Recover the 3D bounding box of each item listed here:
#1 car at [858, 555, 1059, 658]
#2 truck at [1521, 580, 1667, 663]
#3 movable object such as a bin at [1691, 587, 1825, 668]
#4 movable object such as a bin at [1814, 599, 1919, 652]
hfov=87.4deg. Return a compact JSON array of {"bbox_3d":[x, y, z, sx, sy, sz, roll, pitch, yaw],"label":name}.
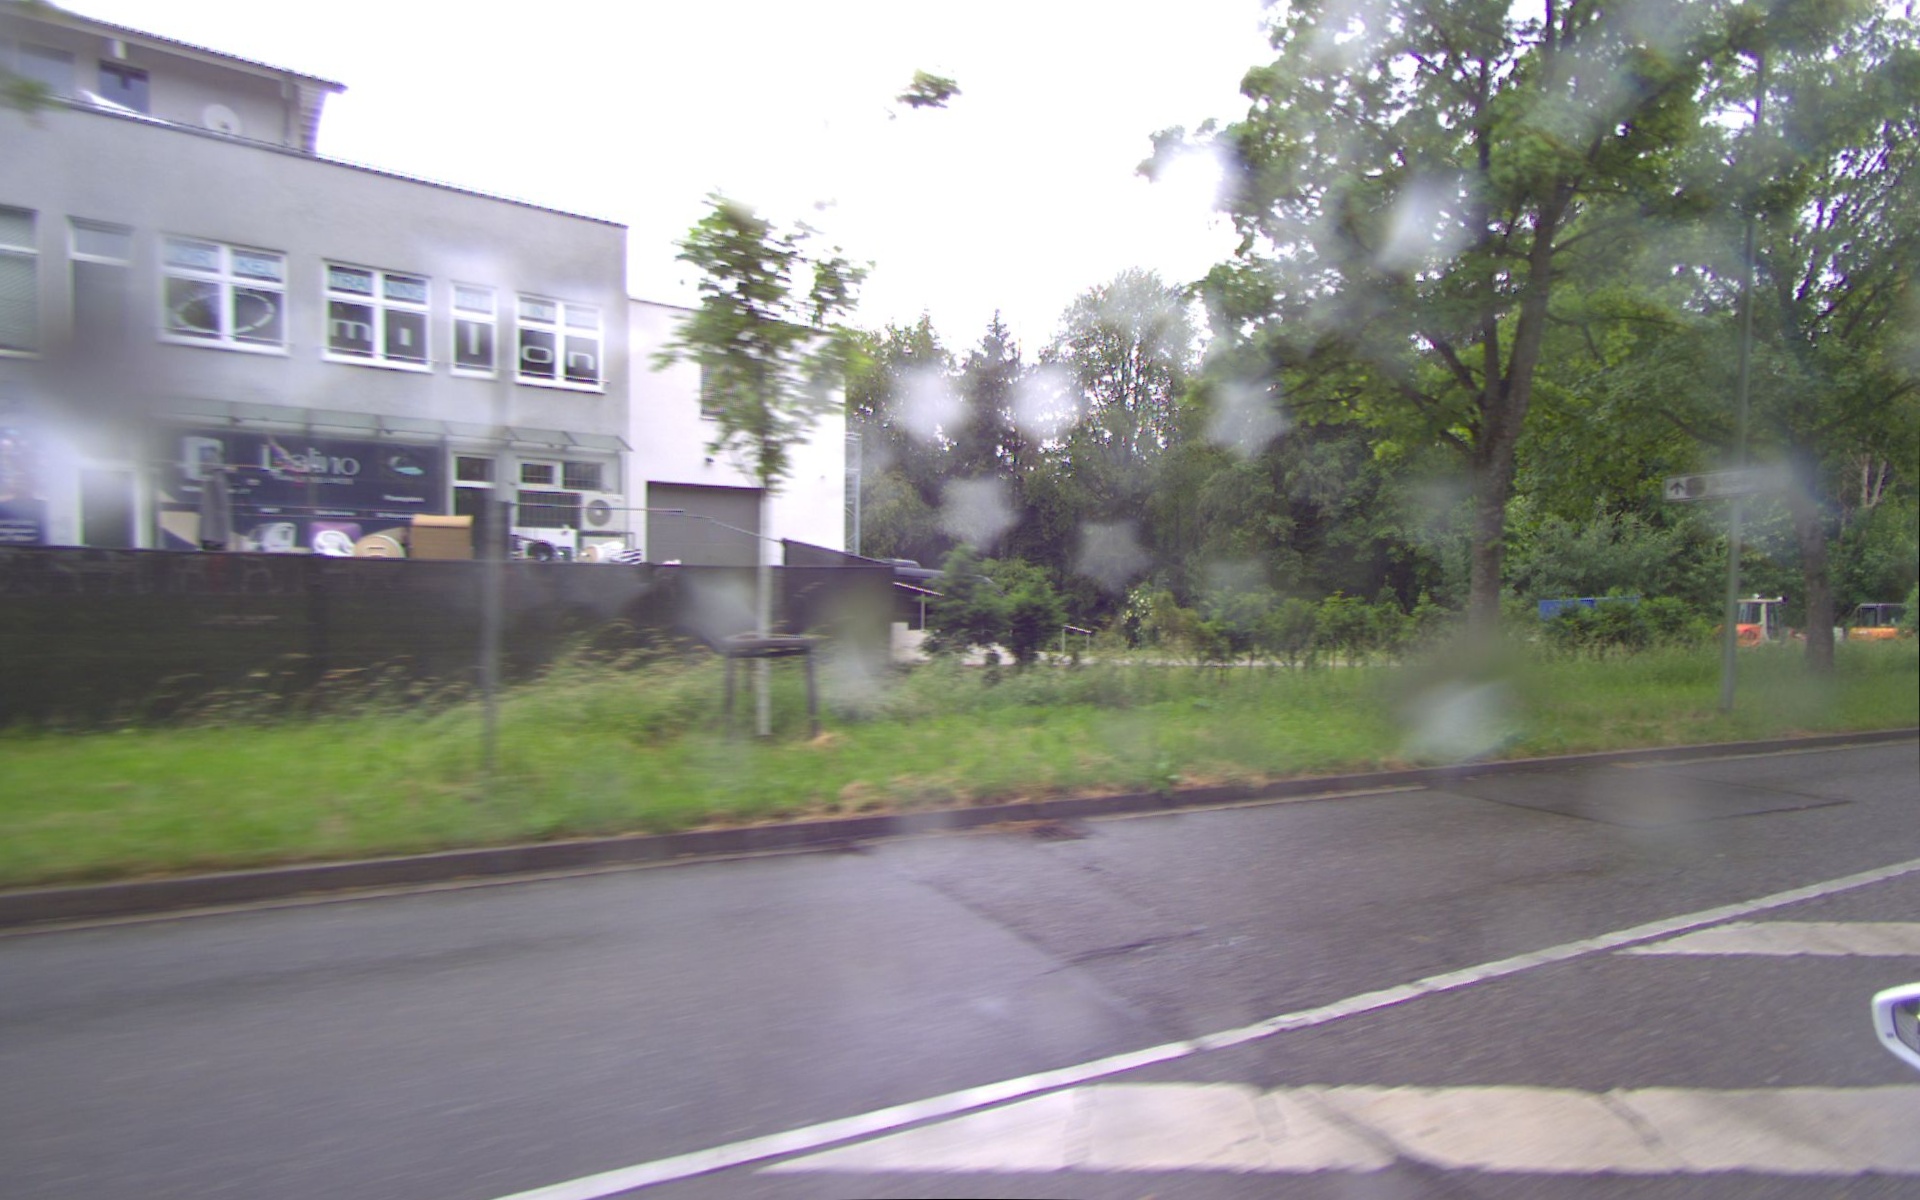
[{"bbox_3d":[0.025,0.227,27.617,5.177,1.939,1.894,11,-5,-33],"label":"car"},{"bbox_3d":[20.534,0.623,32.485,5.166,2.491,1.982,0,2,-33],"label":"truck"},{"bbox_3d":[30.180,1.013,38.029,3.934,2.899,1.993,1,1,-16],"label":"movable object such as a bin"},{"bbox_3d":[37.654,1.010,38.768,7.751,1.933,1.852,1,0,0],"label":"movable object such as a bin"}]
